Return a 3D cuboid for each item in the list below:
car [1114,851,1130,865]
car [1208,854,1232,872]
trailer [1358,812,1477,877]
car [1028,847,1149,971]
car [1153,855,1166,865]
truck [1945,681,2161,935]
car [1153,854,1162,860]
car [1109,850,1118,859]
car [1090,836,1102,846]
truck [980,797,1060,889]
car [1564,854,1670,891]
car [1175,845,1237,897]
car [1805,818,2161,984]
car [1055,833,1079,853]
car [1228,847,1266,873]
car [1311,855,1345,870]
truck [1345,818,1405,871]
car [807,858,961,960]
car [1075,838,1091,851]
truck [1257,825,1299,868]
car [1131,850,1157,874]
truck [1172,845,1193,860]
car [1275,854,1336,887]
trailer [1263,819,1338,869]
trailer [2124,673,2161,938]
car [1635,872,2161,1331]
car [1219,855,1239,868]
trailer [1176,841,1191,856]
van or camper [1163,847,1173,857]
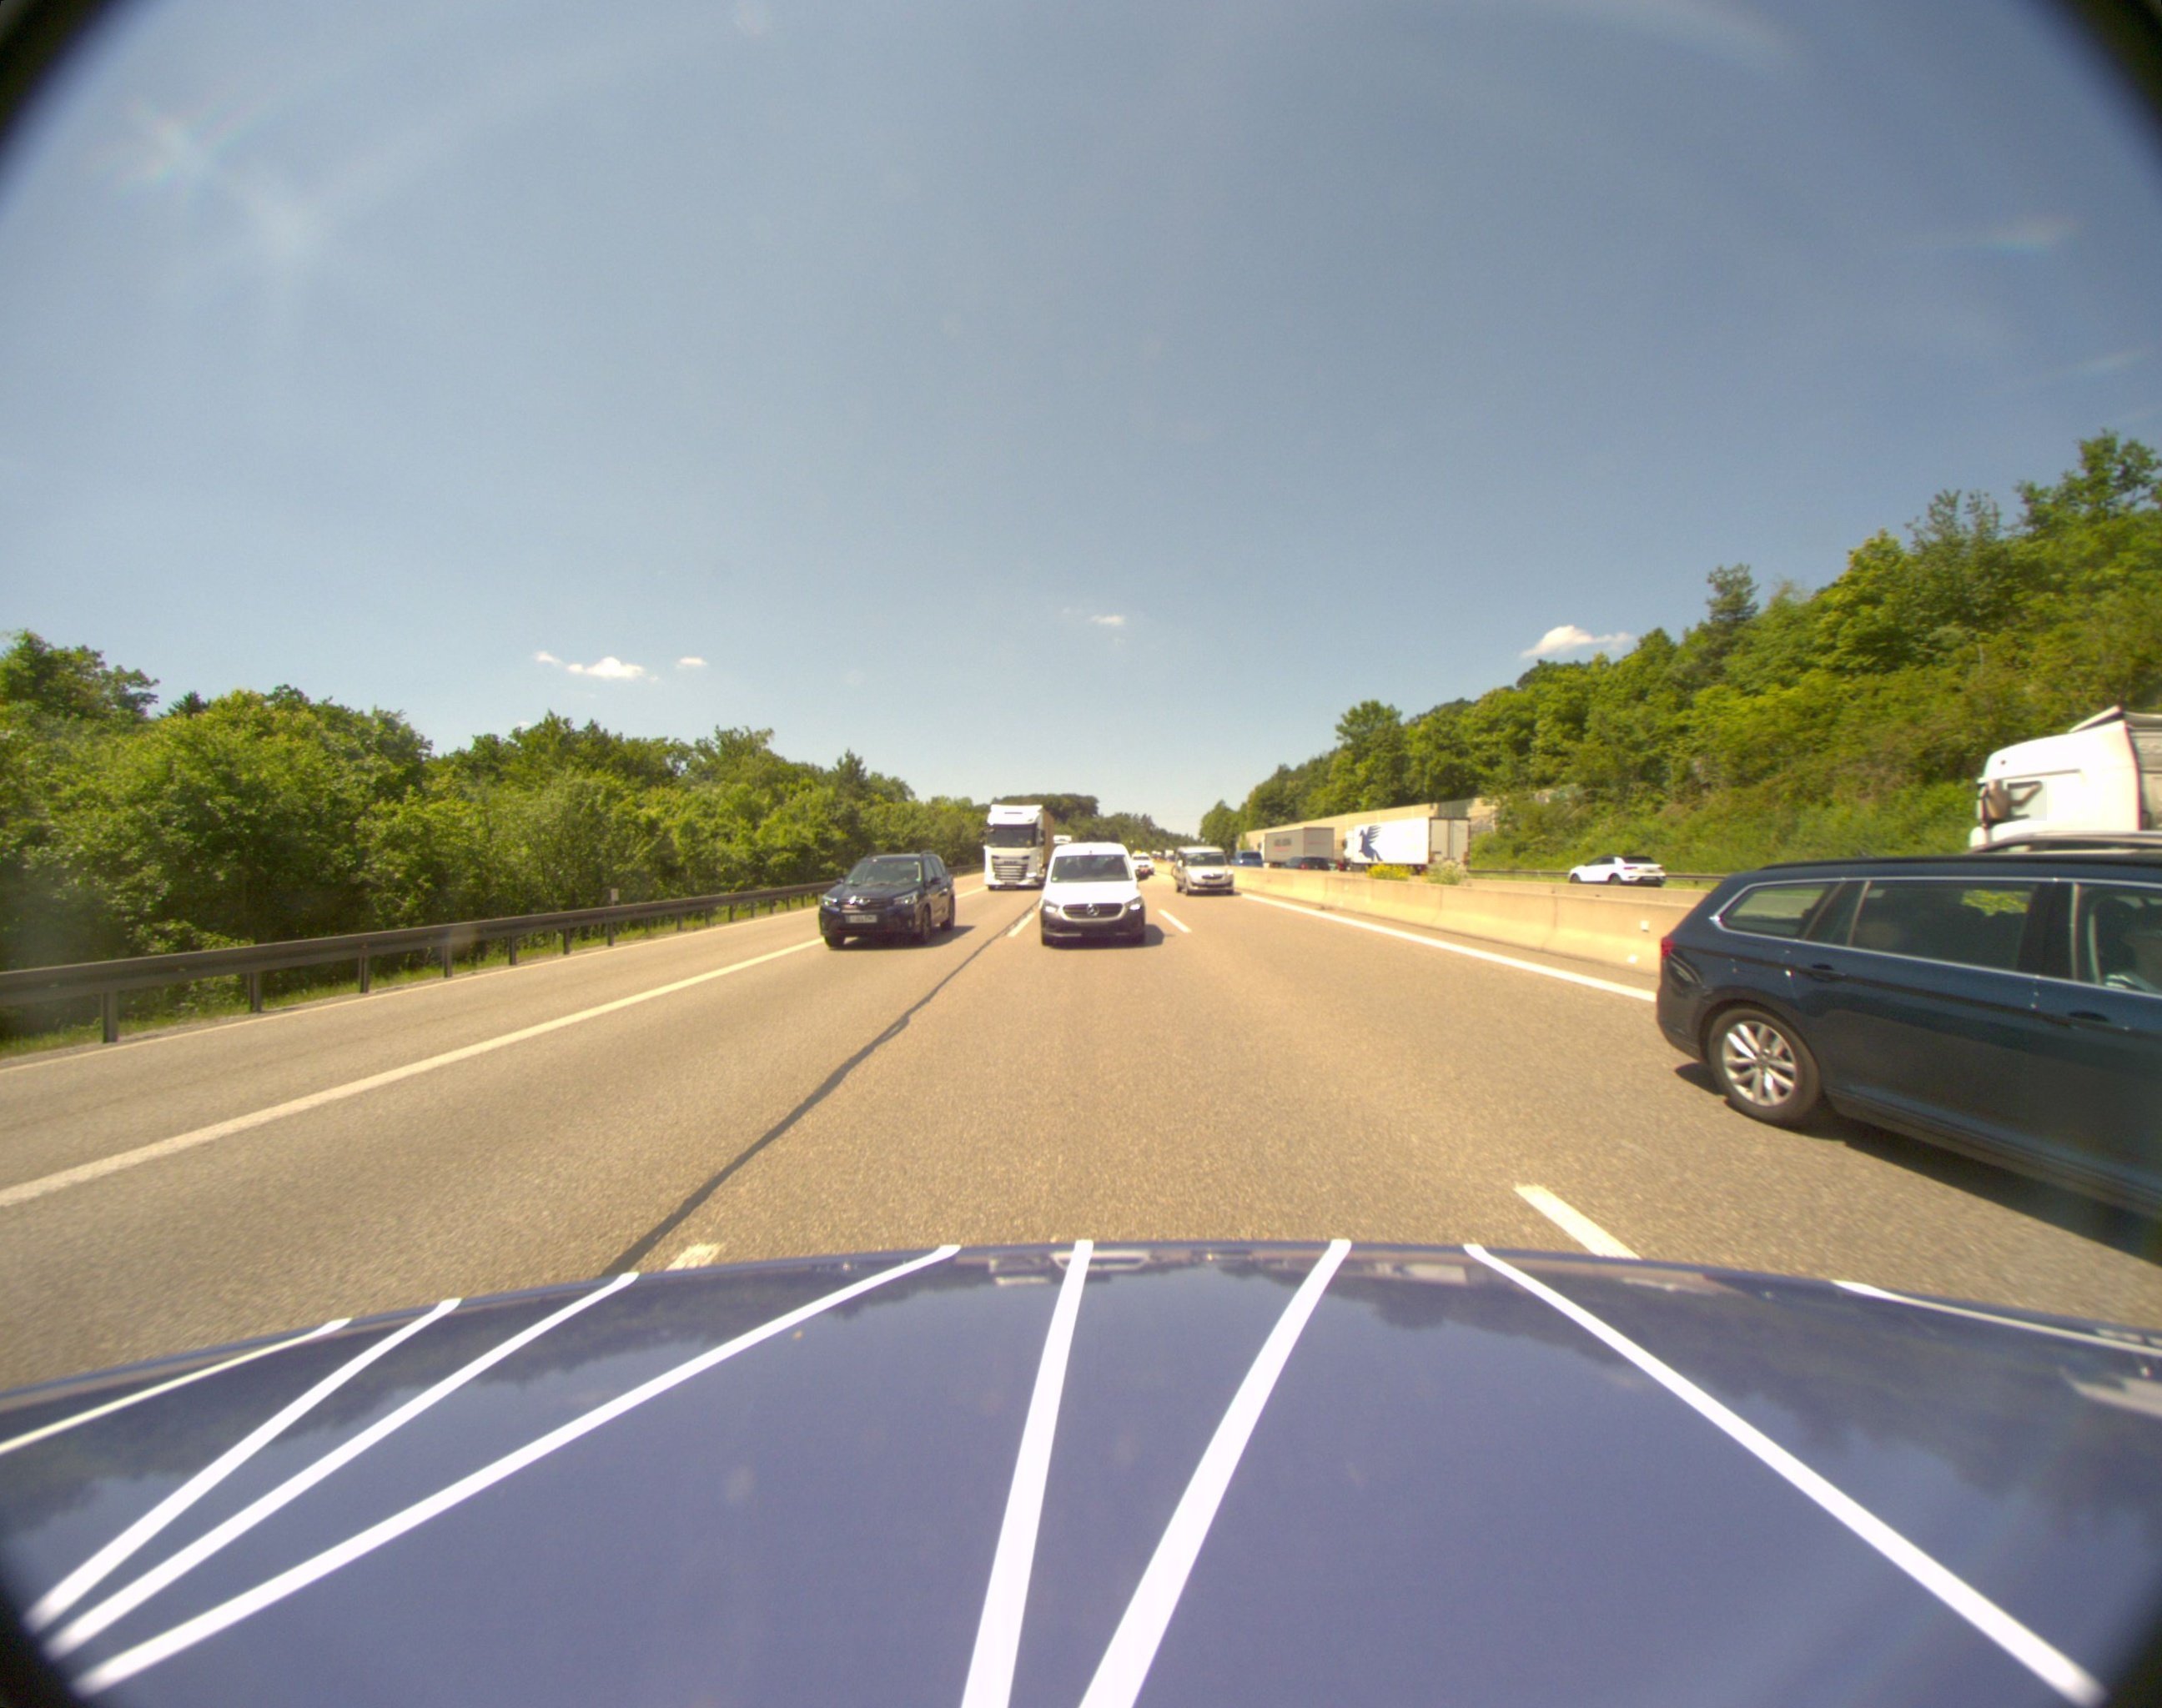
[{"bbox_3d":[5.517,0.519,103.634,1.998,1.783,4.000,-1,0,1],"label":"car"},{"bbox_3d":[16.668,1.063,91.533,1.998,1.938,4.747,0,1,0],"label":"car"},{"bbox_3d":[23.145,-0.706,53.362,2.814,4.024,12.624,0,1,1],"label":"trailer"},{"bbox_3d":[0.190,0.778,13.174,1.729,1.760,4.313,-1,1,2],"label":"car"},{"bbox_3d":[14.017,1.052,135.700,1.952,1.791,4.693,0,1,1],"label":"car"},{"bbox_3d":[19.041,-0.749,11.693,2.810,4.141,7.598,0,1,1],"label":"truck"},{"bbox_3d":[17.073,0.629,168.977,1.618,1.368,4.270,0,0,1],"label":"car"},{"bbox_3d":[7.525,0.074,174.638,1.998,2.002,4.001,0,0,3],"label":"car"},{"bbox_3d":[3.706,-3.253,188.074,2.721,2.534,5.941,0,1,4],"label":"car"},{"bbox_3d":[-2.967,-0.539,42.508,2.789,4.145,16.268,0,0,1],"label":"truck"},{"bbox_3d":[23.054,0.750,32.889,1.671,1.458,4.190,-1,0,1],"label":"car"},{"bbox_3d":[4.694,0.585,29.071,1.780,1.833,4.000,0,0,1],"label":"car"},{"bbox_3d":[12.308,0.478,9.523,1.888,1.746,4.787,0,1,1],"label":"car"},{"bbox_3d":[-1.780,-1.464,99.904,2.721,2.534,5.941,0,1,4],"label":"car"},{"bbox_3d":[12.707,0.434,58.423,1.916,1.837,5.035,0,1,1],"label":"car"},{"bbox_3d":[23.093,0.779,71.148,1.767,1.362,4.501,0,0,1],"label":"car"},{"bbox_3d":[23.286,-0.760,60.517,2.814,4.024,5.084,0,1,0],"label":"truck"},{"bbox_3d":[-3.656,0.942,14.923,1.816,1.658,4.203,-1,0,1],"label":"car"},{"bbox_3d":[0.414,-1.868,145.945,2.721,2.534,5.941,0,1,4],"label":"car"},{"bbox_3d":[19.908,-0.712,77.044,2.848,4.190,5.659,-1,1,1],"label":"truck"},{"bbox_3d":[4.930,0.619,59.755,1.998,1.827,4.001,0,1,4],"label":"car"},{"bbox_3d":[18.682,-0.308,140.226,2.534,2.673,11.627,0,1,1],"label":"truck"},{"bbox_3d":[11.853,0.823,40.385,1.911,1.630,4.537,-1,0,1],"label":"car"},{"bbox_3d":[19.792,-0.935,69.836,2.842,4.141,14.736,0,1,1],"label":"trailer"},{"bbox_3d":[19.006,-0.690,5.763,2.810,4.313,14.034,0,1,0],"label":"trailer"},{"bbox_3d":[4.383,0.841,2.500,1.737,1.419,4.730,0,0,1],"label":"car"},{"bbox_3d":[20.686,1.026,106.568,1.738,1.799,4.863,0,0,-1],"label":"car"},{"bbox_3d":[27.386,-1.620,203.389,2.819,3.886,13.827,0,1,3],"label":"trailer"},{"bbox_3d":[25.176,-0.708,219.293,2.275,2.720,6.805,0,1,2],"label":"van or camper"}]
